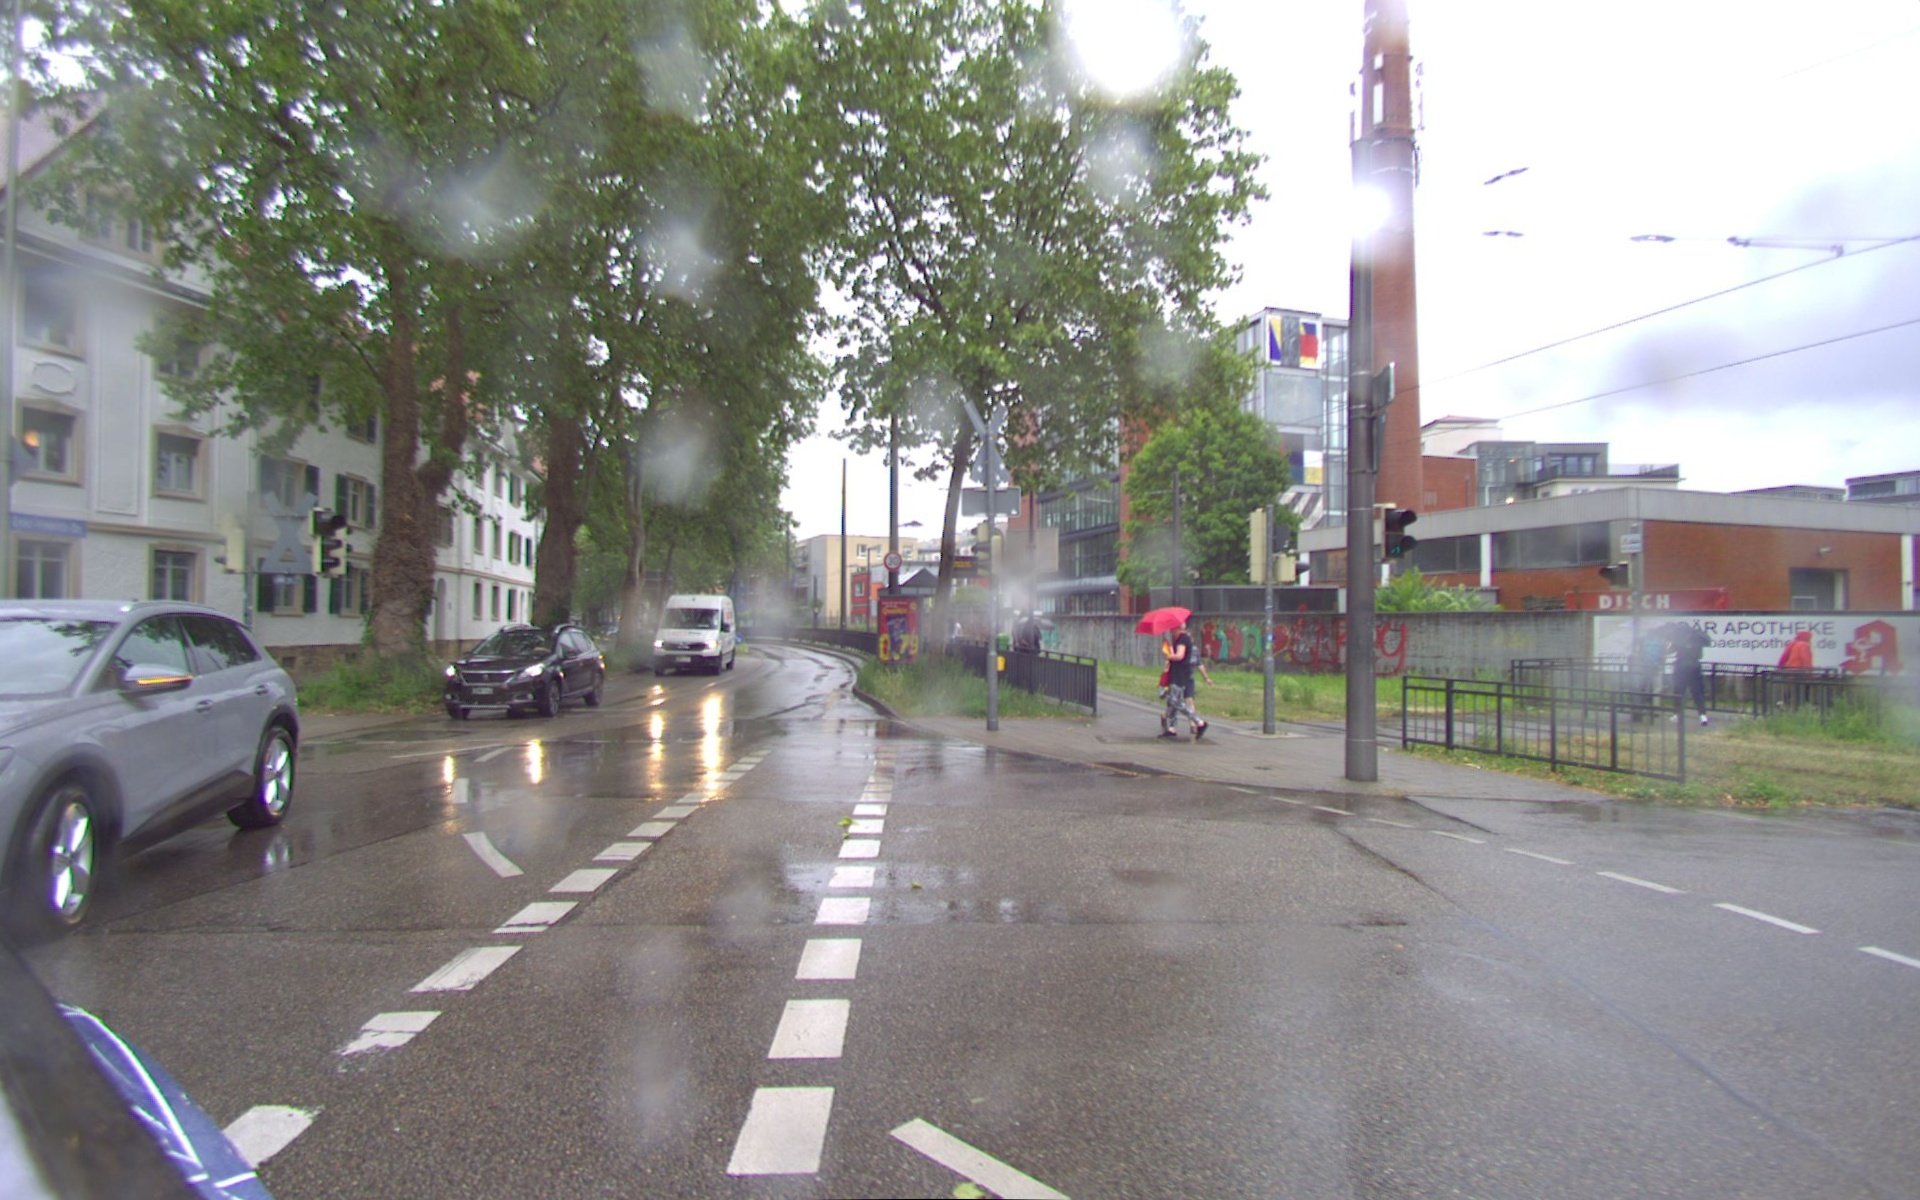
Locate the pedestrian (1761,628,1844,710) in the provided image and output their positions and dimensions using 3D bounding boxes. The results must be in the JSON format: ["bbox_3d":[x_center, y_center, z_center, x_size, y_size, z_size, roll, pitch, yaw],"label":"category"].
[{"bbox_3d":[15.969,1.291,19.202,0.835,1.516,0.831,0,-3,-15],"label":"pedestrian"}]

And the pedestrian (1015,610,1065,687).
[{"bbox_3d":[1.788,1.093,22.782,0.846,1.701,0.851,0,-3,-16],"label":"pedestrian"}]

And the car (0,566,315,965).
[{"bbox_3d":[-5.294,0.749,5.615,1.779,1.633,4.149,0,-3,-16],"label":"car"}]

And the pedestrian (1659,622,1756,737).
[{"bbox_3d":[12.660,1.322,17.165,0.835,1.877,0.958,0,-3,-15],"label":"pedestrian"}]

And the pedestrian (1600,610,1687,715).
[{"bbox_3d":[12.650,1.148,18.746,0.835,1.877,0.958,0,-3,-15],"label":"pedestrian"}]

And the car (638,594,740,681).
[{"bbox_3d":[-8.763,1.178,33.311,2.249,2.582,6.520,0,-1,-6],"label":"car"}]

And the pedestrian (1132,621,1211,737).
[{"bbox_3d":[3.205,1.179,15.389,0.846,1.701,0.851,0,-3,-16],"label":"pedestrian"}]

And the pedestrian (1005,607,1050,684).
[{"bbox_3d":[1.641,1.115,24.831,0.846,1.846,0.851,0,-3,-16],"label":"pedestrian"}]

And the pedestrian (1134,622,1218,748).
[{"bbox_3d":[3.025,1.173,14.230,0.835,1.701,0.863,0,-3,-15],"label":"pedestrian"}]

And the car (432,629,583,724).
[{"bbox_3d":[-7.790,1.268,17.786,1.823,1.455,4.011,0,-2,-15],"label":"car"}]
